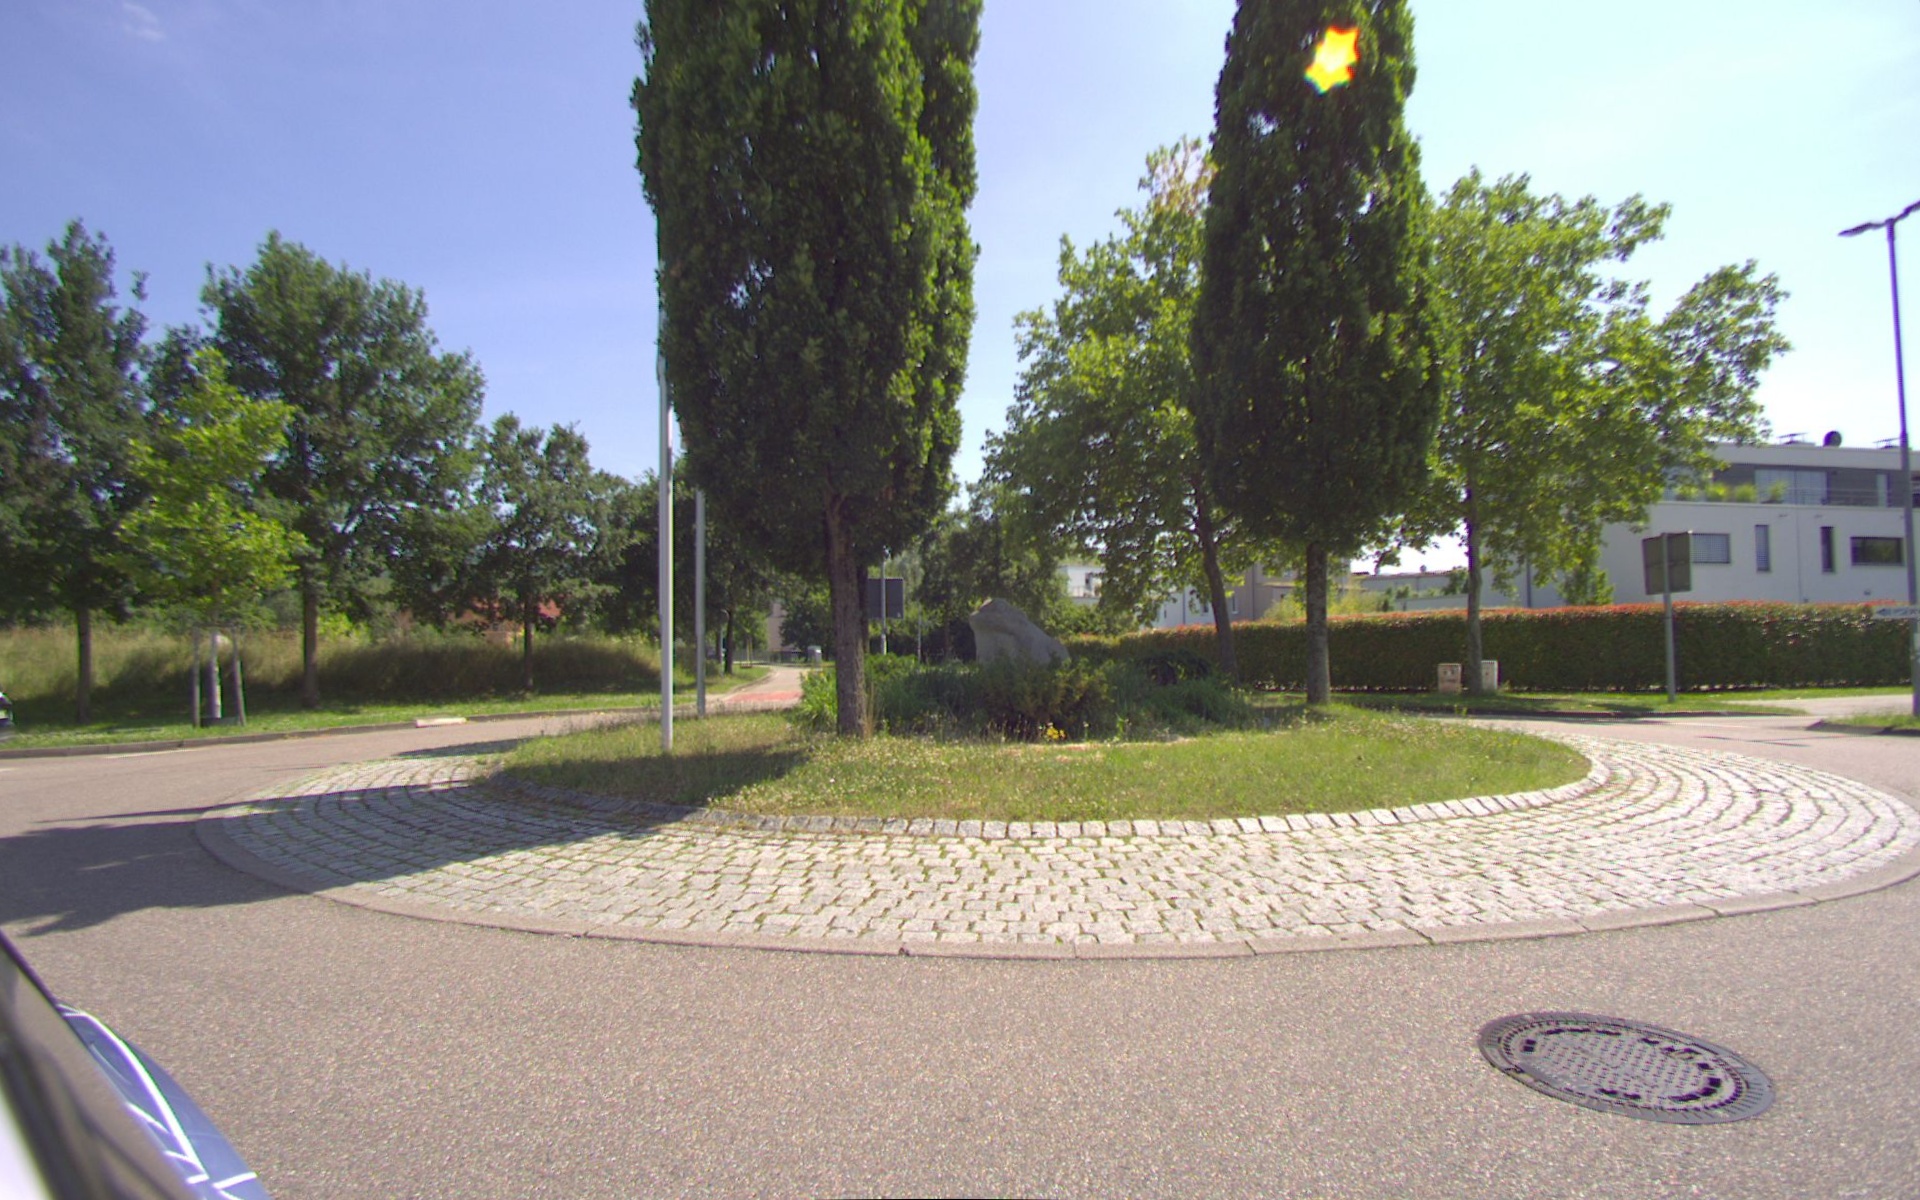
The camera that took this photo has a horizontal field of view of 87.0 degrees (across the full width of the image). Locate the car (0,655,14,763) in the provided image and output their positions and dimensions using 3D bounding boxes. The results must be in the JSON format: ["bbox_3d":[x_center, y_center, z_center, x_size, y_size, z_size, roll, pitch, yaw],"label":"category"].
[{"bbox_3d":[-15.825,1.558,13.421,4.409,1.581,1.872,0,-4,-28],"label":"car"}]
